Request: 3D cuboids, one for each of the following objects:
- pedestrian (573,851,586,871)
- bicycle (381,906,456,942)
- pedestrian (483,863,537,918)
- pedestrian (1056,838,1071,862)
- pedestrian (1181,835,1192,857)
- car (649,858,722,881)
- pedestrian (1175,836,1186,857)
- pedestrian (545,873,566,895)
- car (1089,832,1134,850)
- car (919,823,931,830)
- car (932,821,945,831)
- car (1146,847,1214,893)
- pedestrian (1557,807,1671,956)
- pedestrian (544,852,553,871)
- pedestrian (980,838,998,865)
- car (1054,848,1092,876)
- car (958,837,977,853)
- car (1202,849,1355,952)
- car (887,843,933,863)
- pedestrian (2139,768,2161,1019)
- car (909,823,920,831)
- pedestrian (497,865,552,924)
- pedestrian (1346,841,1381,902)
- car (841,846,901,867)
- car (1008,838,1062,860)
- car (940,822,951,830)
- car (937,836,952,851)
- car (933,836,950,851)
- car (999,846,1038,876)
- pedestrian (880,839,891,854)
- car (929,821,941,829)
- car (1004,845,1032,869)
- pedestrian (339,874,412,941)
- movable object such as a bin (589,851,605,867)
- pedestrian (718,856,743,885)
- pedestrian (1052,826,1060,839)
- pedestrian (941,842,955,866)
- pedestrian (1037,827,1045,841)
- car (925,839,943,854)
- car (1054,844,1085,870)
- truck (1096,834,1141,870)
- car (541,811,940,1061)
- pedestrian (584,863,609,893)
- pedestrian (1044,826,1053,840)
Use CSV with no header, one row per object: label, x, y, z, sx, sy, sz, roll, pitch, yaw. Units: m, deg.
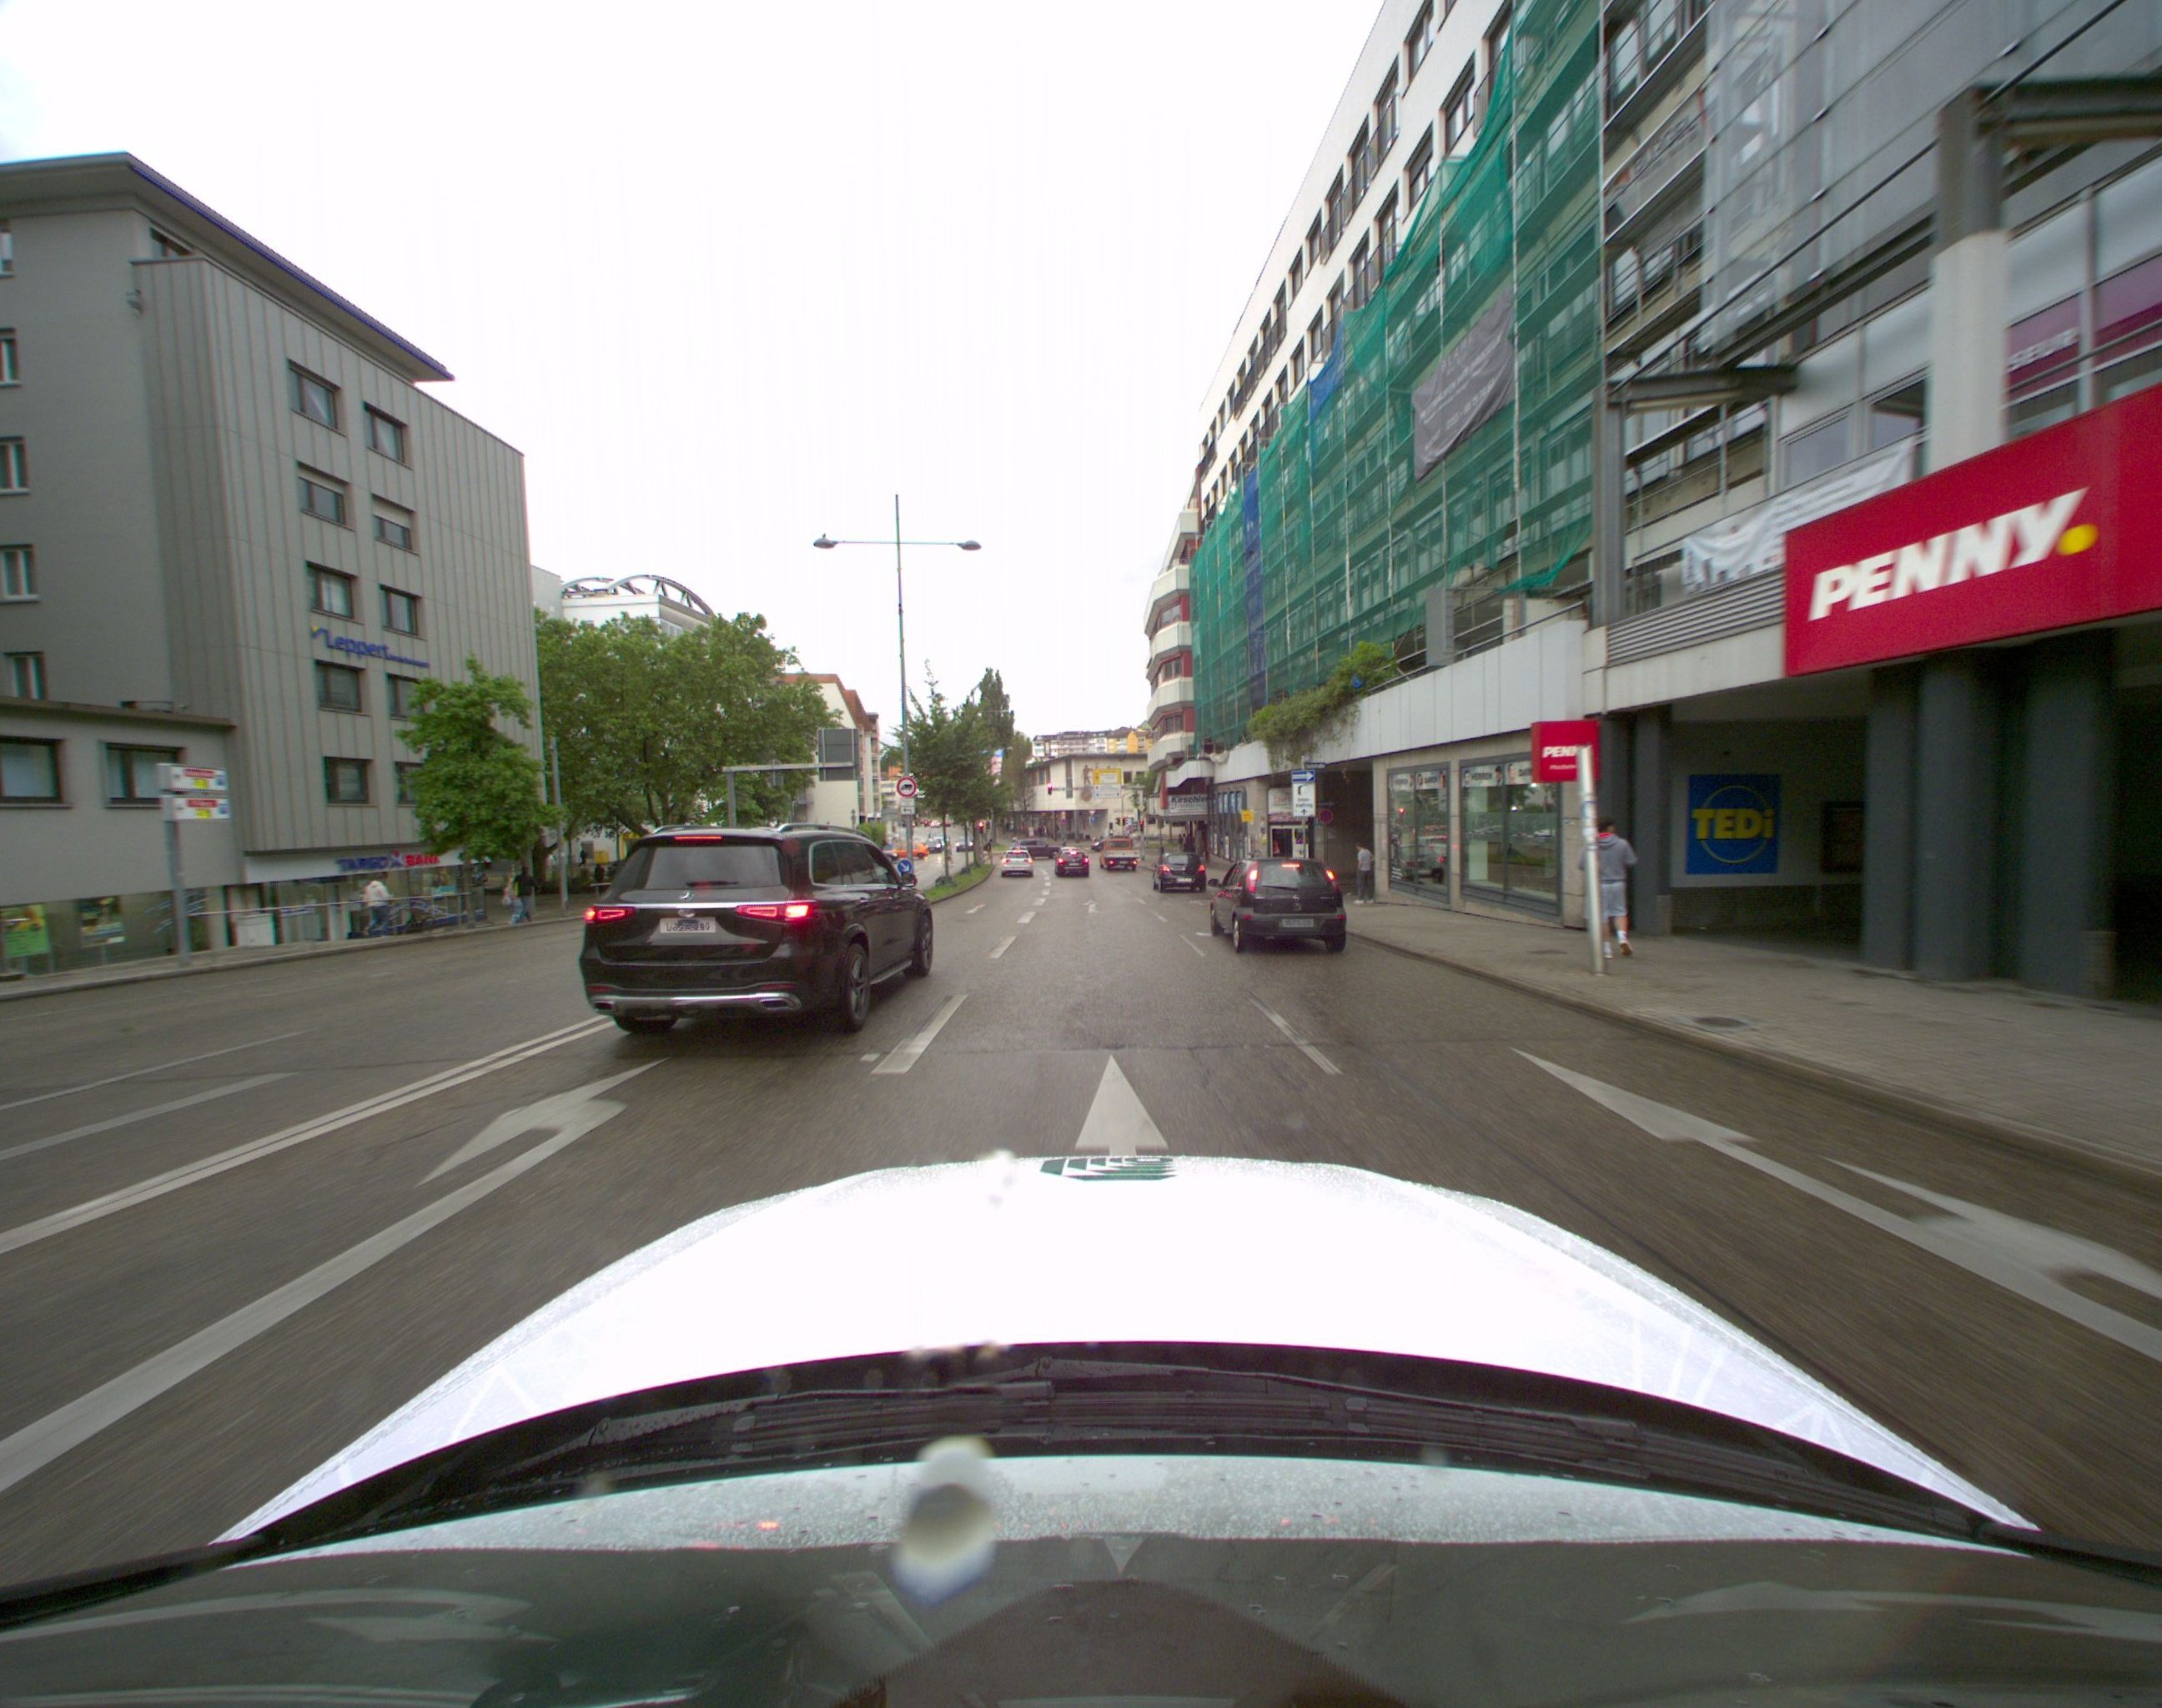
pedestrian,-45.516,0.627,73.953,0.615,1.778,0.830,-3,1,-9
bicycle,-24.324,2.550,29.972,0.610,1.086,2.669,-1,0,-1
pedestrian,-19.354,1.221,27.616,0.971,1.722,1.089,-3,1,-2
pedestrian,-1.318,-0.307,62.602,1.006,1.722,0.839,-3,1,3
pedestrian,8.437,-0.636,64.861,0.577,1.699,0.647,-3,0,-16
car,-30.515,1.200,63.026,4.705,1.591,1.991,-2,0,-14
pedestrian,7.865,-0.594,64.511,0.576,1.699,0.648,-3,0,-11
pedestrian,-32.487,1.858,50.346,0.954,1.272,0.753,-3,1,-28
car,2.895,-1.176,75.944,3.965,1.527,1.851,-2,1,7
car,-36.148,-6.330,188.773,1.757,1.554,3.540,-2,1,-24
car,-33.378,-6.569,190.534,2.003,2.013,3.968,-2,1,-24
car,3.648,0.542,30.712,1.945,1.574,3.997,-1,1,-2
pedestrian,6.529,0.318,10.023,0.831,1.722,0.831,-3,1,7
pedestrian,-48.245,0.668,73.775,0.509,1.709,0.610,-3,1,-43
pedestrian,-6.646,-0.159,59.014,1.058,1.882,0.839,-3,1,5
car,-0.469,0.415,45.674,1.809,1.441,3.993,0,1,-5
car,-11.842,-0.921,85.203,1.818,1.549,3.992,-2,1,-6
car,3.088,0.653,13.461,1.710,1.420,3.772,-1,0,2
car,-15.262,-0.106,72.687,4.001,1.616,1.767,-2,0,-14
pedestrian,7.833,0.248,5.534,0.821,1.715,0.664,-3,1,-31
car,-38.490,-6.250,187.777,1.757,1.554,3.540,-2,1,-24
pedestrian,-17.275,1.238,25.321,0.815,1.713,1.309,-3,1,-8
pedestrian,7.777,0.482,22.417,0.635,1.649,0.566,-4,-1,40
car,-17.314,0.169,67.076,4.692,1.643,1.777,0,0,-16
car,-3.804,-0.396,67.038,4.154,1.657,1.833,-2,0,-14
car,-30.552,-6.348,183.583,1.835,1.588,3.853,-2,1,-16
car,-16.552,-1.222,98.421,1.705,1.720,3.986,-2,1,-10
car,-15.728,-1.184,91.739,1.778,1.549,3.986,-2,1,-10
car,-3.454,0.369,45.769,1.944,1.574,3.998,-1,1,-1
pedestrian,-20.908,-0.789,86.998,0.931,1.608,0.557,-3,0,-42
car,-31.733,-6.230,177.077,1.998,1.596,3.977,-2,1,-17
car,-4.224,0.173,55.067,1.791,1.468,3.994,-1,1,-4
pedestrian,-19.333,1.442,22.345,0.991,1.722,1.037,-3,1,-4
movable object such as a bin,-46.539,0.508,78.268,1.107,1.446,0.601,-3,0,2
pedestrian,-22.597,1.058,52.527,0.941,1.722,1.020,-3,3,19
pedestrian,-3.357,-2.880,109.023,0.704,1.802,0.933,-3,0,-16
pedestrian,-9.862,-0.028,60.371,0.832,1.722,0.819,-3,1,0
pedestrian,-5.346,-2.728,109.089,0.800,1.802,0.913,-3,0,-16
car,-15.188,-0.764,84.111,1.706,1.451,3.850,-2,1,-9
car,-0.789,0.183,53.275,1.757,1.542,3.995,-1,2,-4
truck,2.334,-0.157,52.603,2.180,2.082,5.595,-2,1,-4
car,-2.899,0.572,8.343,2.081,1.817,4.792,0,1,0
pedestrian,-29.100,1.449,48.925,0.752,1.722,0.955,-3,1,11
pedestrian,-4.329,-2.793,108.543,0.848,1.802,1.050,-3,0,-16
